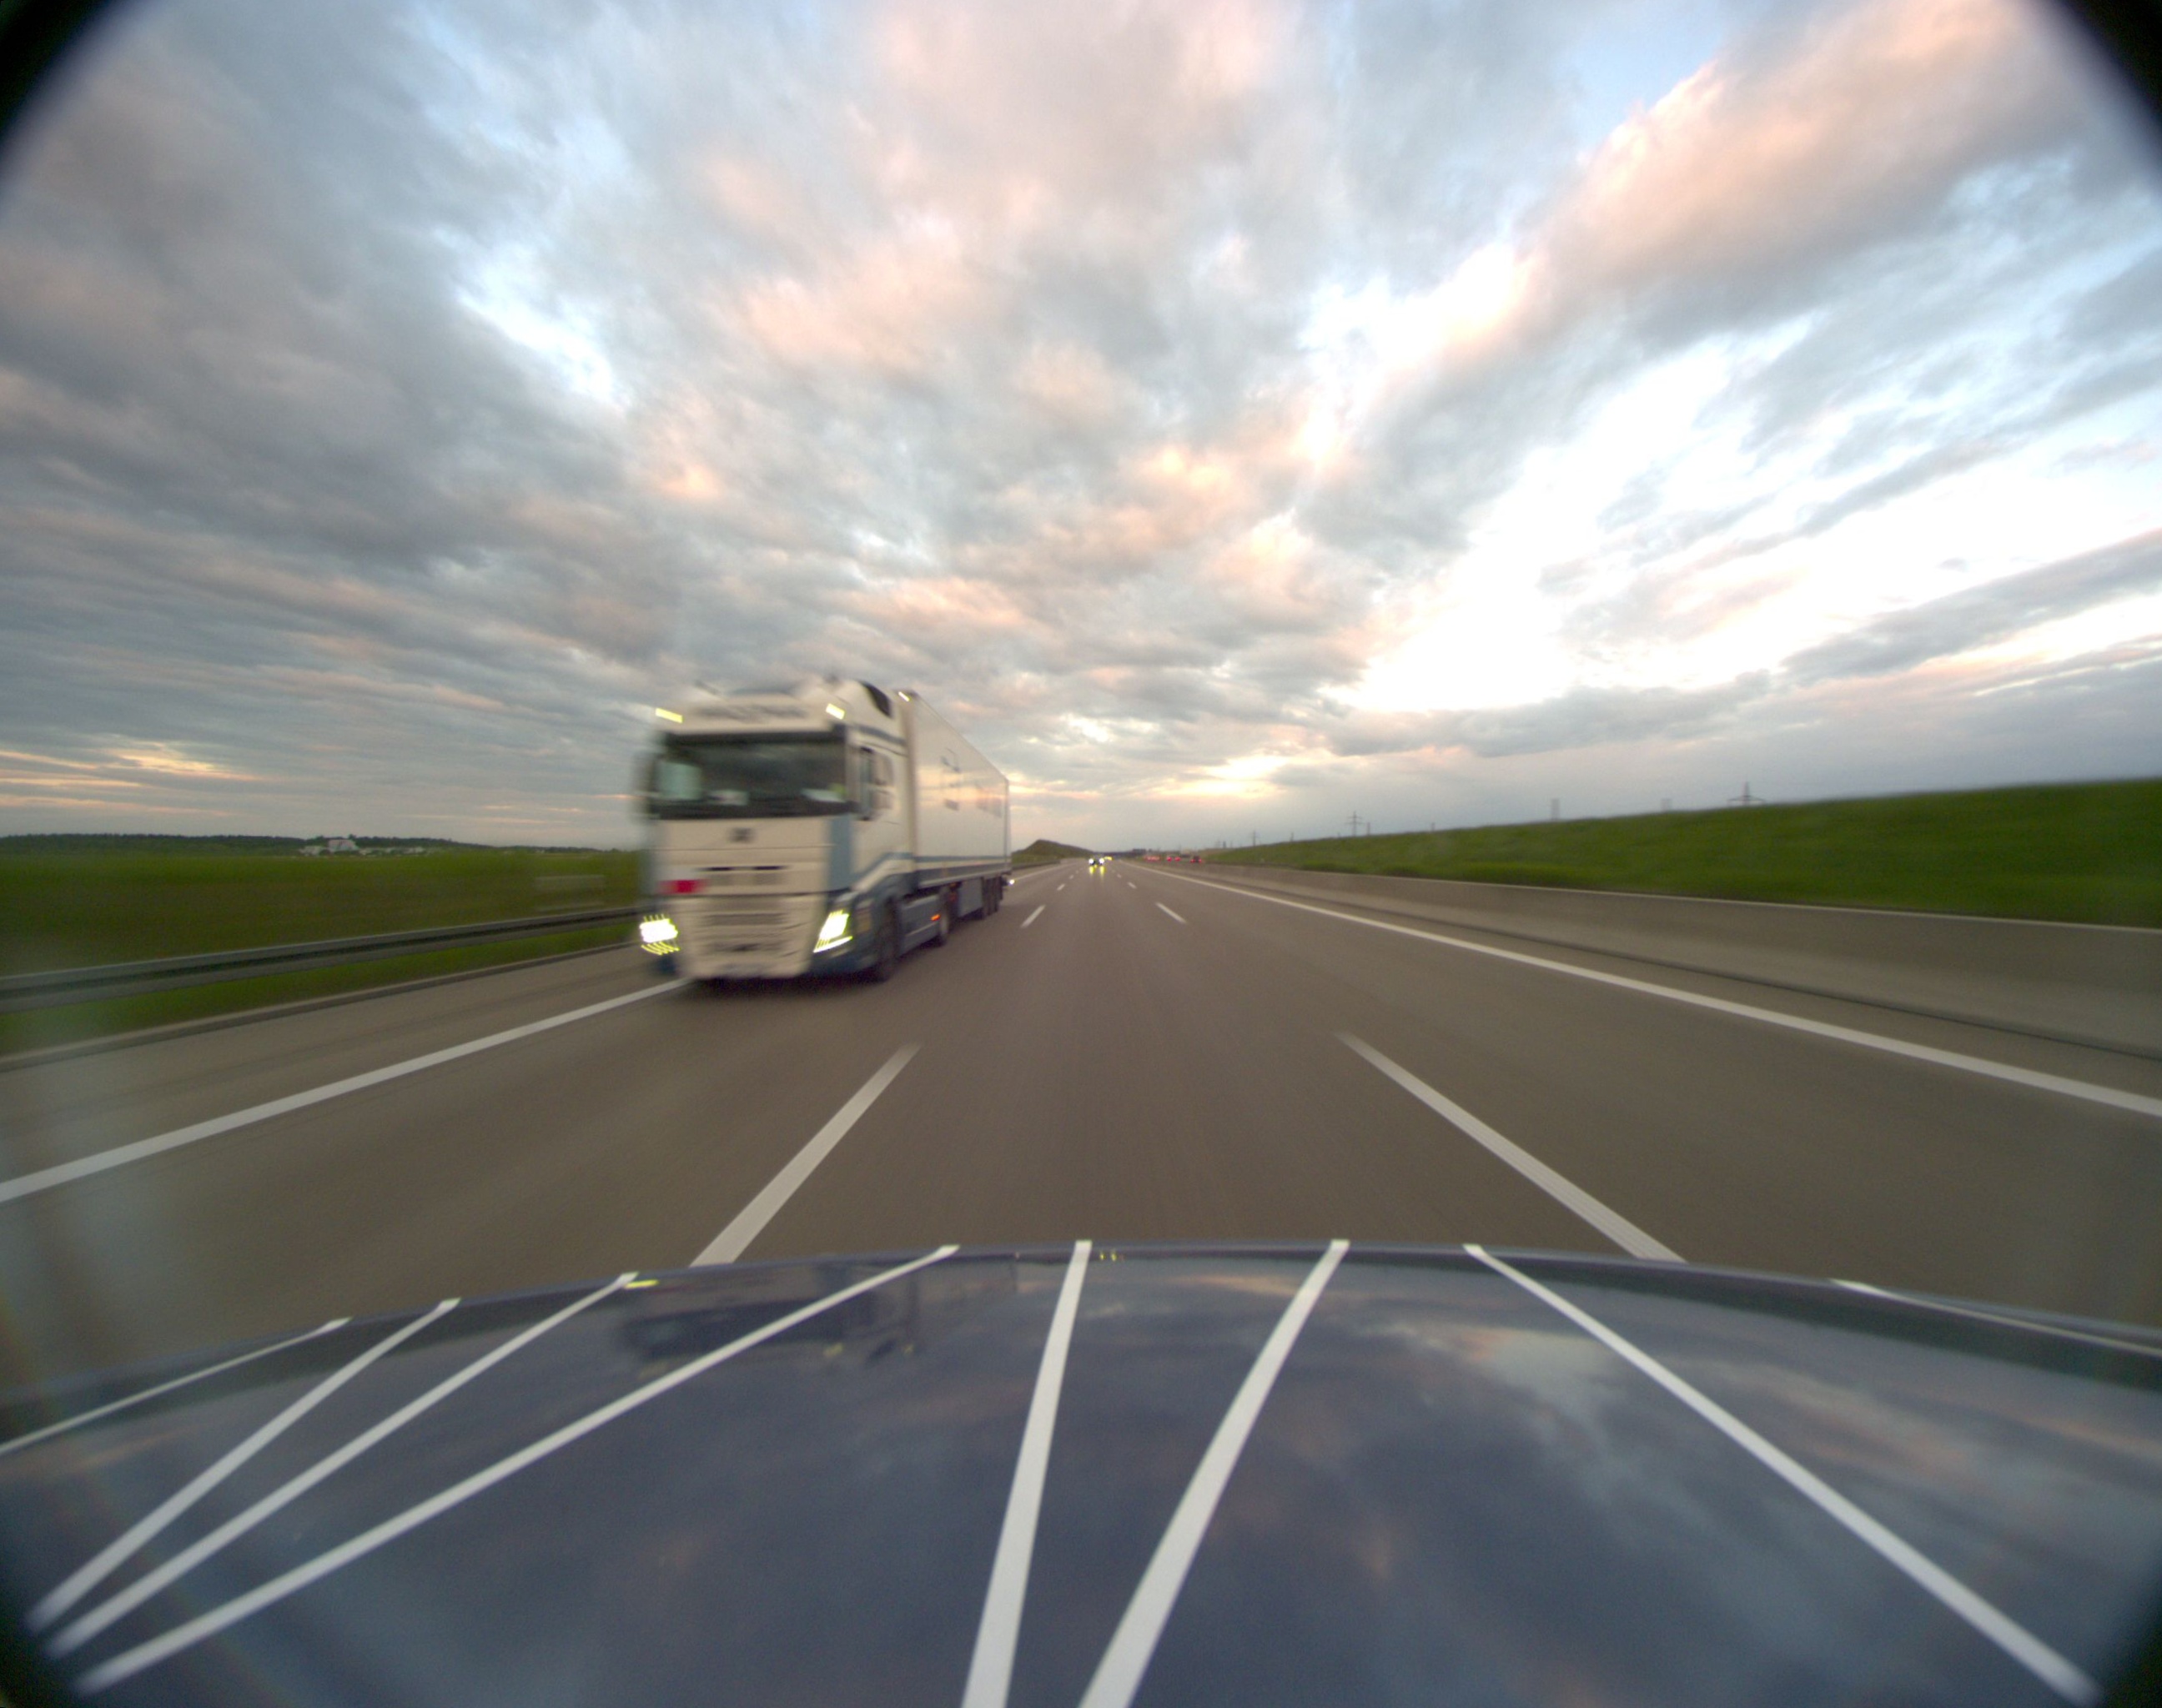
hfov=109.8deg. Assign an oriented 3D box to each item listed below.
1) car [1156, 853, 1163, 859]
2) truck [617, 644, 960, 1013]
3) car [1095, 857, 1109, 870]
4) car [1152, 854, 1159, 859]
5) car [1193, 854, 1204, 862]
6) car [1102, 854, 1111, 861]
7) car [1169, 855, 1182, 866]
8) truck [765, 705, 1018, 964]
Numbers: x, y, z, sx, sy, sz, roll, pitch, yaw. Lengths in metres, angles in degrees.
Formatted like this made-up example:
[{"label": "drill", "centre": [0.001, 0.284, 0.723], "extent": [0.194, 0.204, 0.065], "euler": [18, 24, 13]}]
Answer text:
[{"label": "car", "centre": [23.009, 0.634, 222.893], "extent": [1.998, 1.783, 4.000], "euler": [0, 0, 2]}, {"label": "truck", "centre": [-3.672, -0.272, 11.262], "extent": [2.596, 3.999, 5.859], "euler": [-1, 0, 2]}, {"label": "car", "centre": [3.098, 1.401, 112.263], "extent": [1.998, 1.652, 4.851], "euler": [-2, 1, 1]}, {"label": "car", "centre": [24.478, 0.737, 249.833], "extent": [1.998, 1.783, 4.000], "euler": [0, 0, 2]}, {"label": "car", "centre": [23.365, 0.746, 151.459], "extent": [1.739, 1.663, 3.597], "euler": [0, 0, 1]}, {"label": "car", "centre": [5.954, 0.883, 177.474], "extent": [1.871, 1.674, 3.916], "euler": [0, 0, 2]}, {"label": "car", "centre": [15.271, 1.048, 122.870], "extent": [1.744, 1.590, 4.001], "euler": [0, 0, 3]}, {"label": "truck", "centre": [-3.500, -0.311, 18.373], "extent": [2.597, 3.999, 12.985], "euler": [-1, 0, 1]}]
